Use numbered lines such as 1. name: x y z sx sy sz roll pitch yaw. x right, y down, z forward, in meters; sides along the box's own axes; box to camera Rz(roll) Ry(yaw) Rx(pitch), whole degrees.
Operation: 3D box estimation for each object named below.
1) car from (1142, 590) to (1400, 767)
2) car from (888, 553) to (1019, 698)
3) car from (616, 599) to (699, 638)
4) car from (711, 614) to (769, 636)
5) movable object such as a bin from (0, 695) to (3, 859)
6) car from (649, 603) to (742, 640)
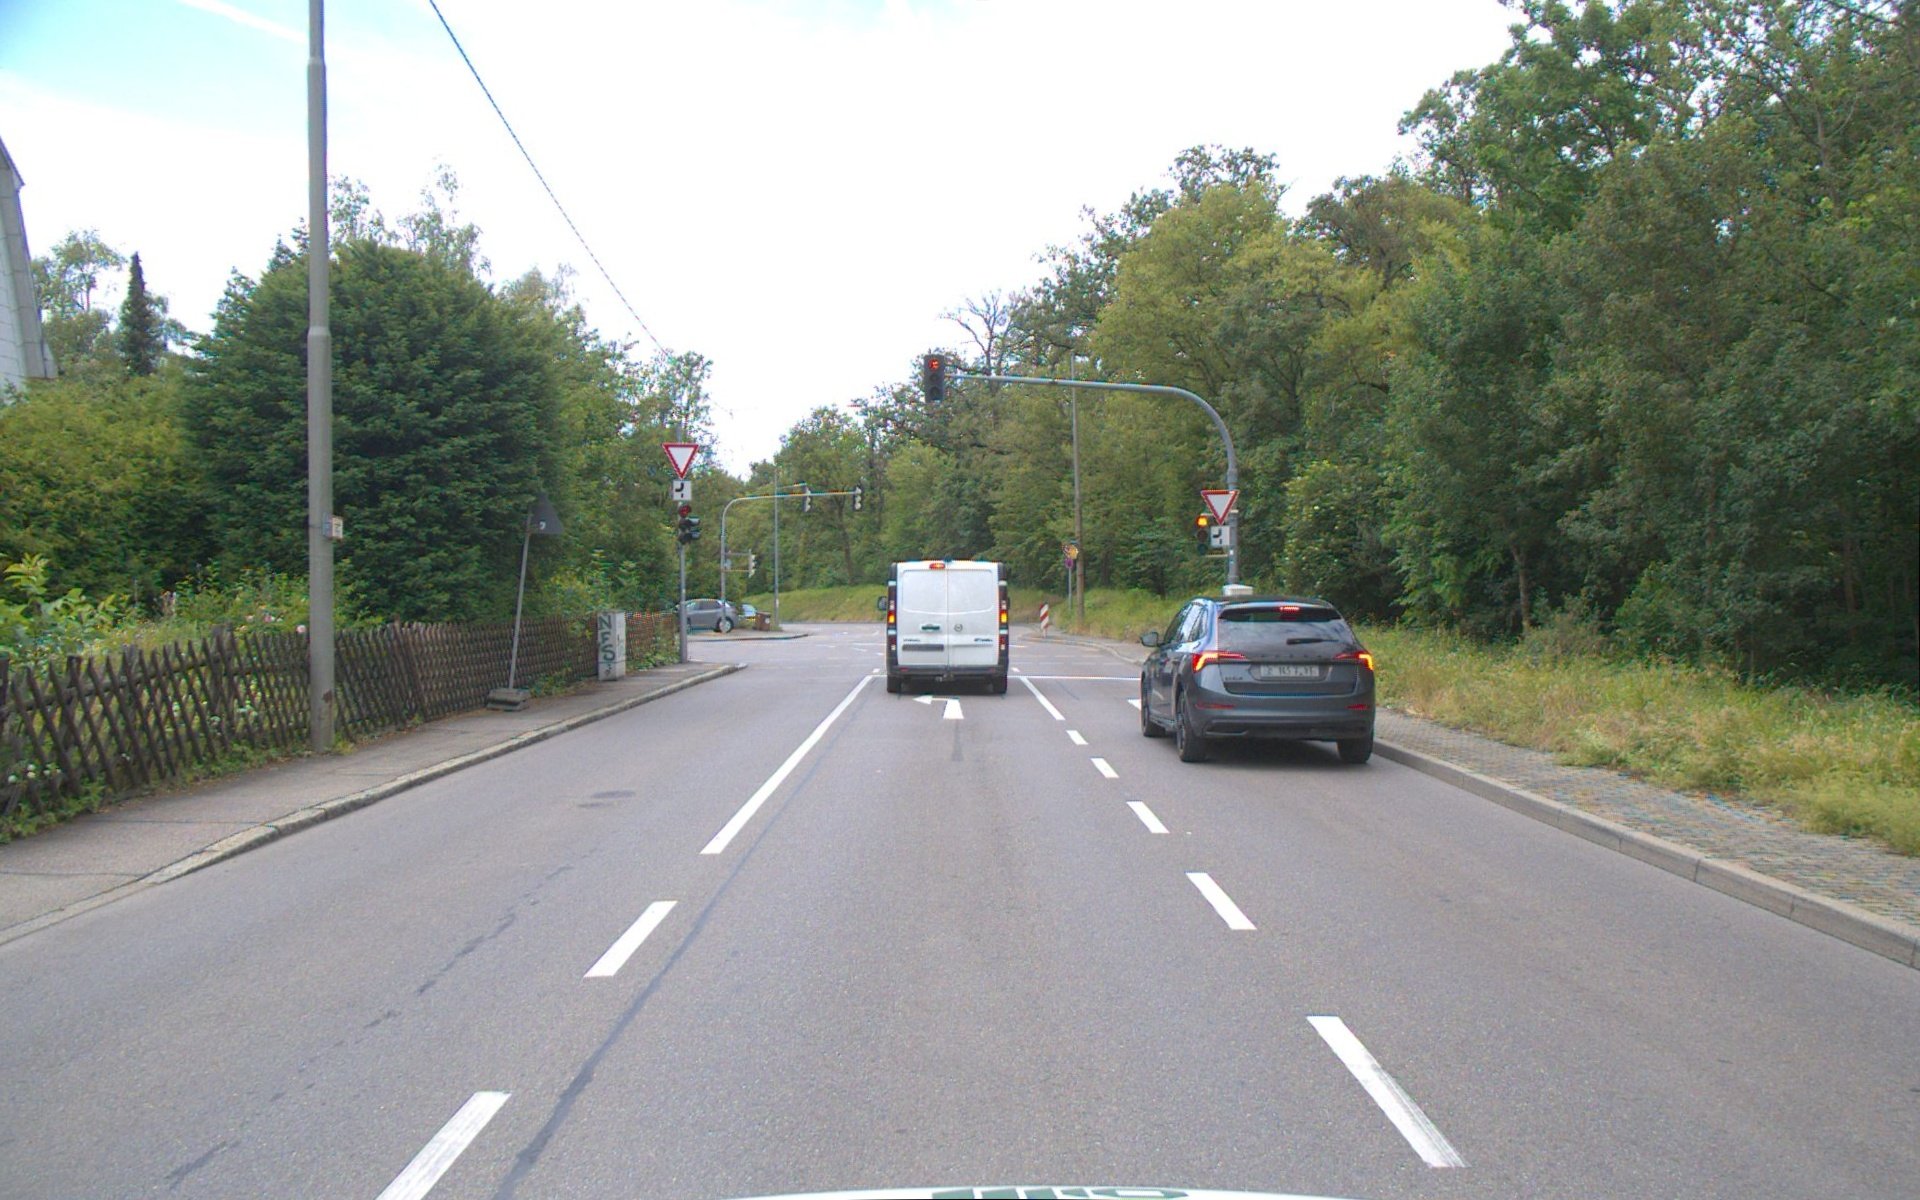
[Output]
1. car: 2.841 0.654 15.927 1.756 1.476 4.000 0 0 0
2. car: -0.196 0.362 26.267 1.878 2.089 4.612 0 0 -3
3. car: -12.007 0.729 65.805 1.662 1.474 3.544 2 0 19
4. car: -15.776 1.798 118.626 3.917 1.533 1.858 -1 0 34
5. movable object such as a bin: -5.881 1.038 9.420 0.539 0.954 0.538 0 0 1
6. car: -12.139 0.972 75.879 4.022 1.580 1.846 -1 1 -18
